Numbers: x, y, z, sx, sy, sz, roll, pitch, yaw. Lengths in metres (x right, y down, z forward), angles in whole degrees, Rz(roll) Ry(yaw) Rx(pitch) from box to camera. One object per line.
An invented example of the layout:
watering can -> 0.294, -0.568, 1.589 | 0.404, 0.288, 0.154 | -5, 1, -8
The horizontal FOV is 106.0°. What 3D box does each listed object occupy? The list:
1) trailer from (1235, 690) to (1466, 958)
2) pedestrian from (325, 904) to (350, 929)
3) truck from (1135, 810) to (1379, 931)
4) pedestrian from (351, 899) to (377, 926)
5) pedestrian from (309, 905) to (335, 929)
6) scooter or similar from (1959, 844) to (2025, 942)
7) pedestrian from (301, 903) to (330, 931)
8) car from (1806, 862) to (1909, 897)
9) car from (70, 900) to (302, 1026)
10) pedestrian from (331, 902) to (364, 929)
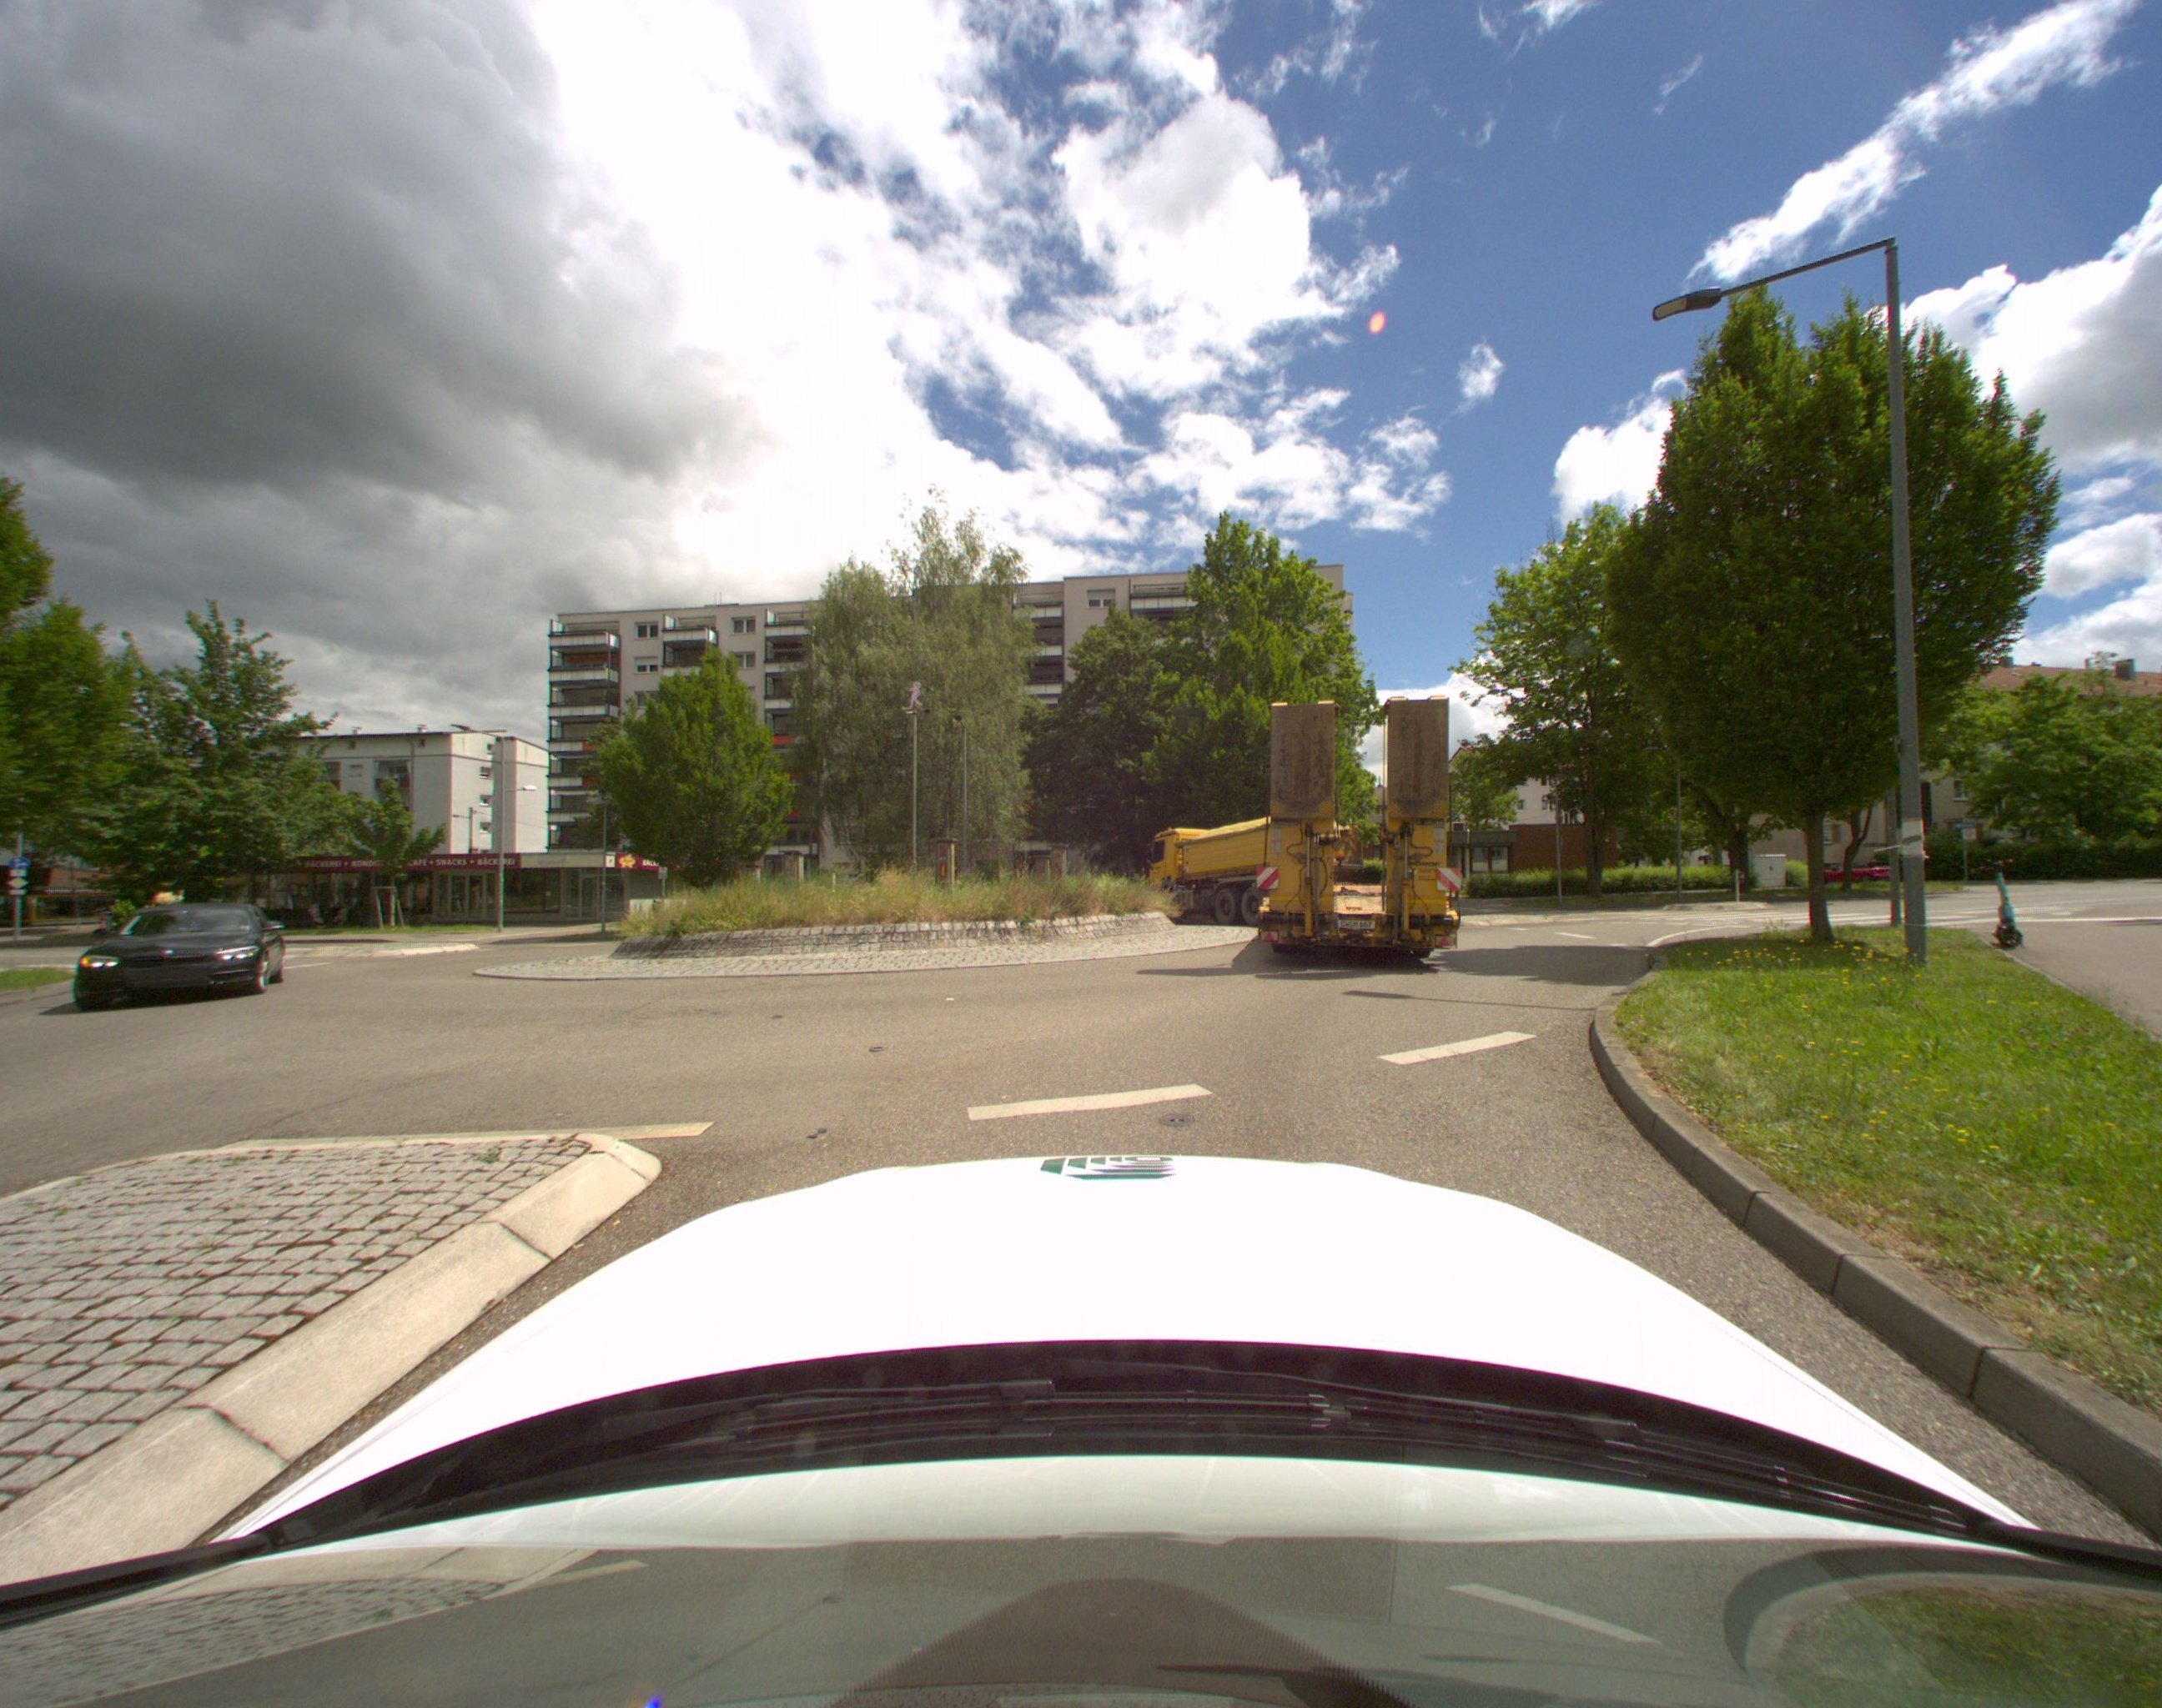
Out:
trailer -> 4.929, -0.221, 15.843 | 2.842, 3.373, 10.884 | 0, -2, 16
pedestrian -> -38.597, 3.246, 42.288 | 0.691, 1.201, 0.723 | -2, -2, 20
truck -> 4.894, 0.510, 24.941 | 3.000, 3.035, 8.421 | -1, -1, -22
pedestrian -> -37.263, 3.039, 42.318 | 0.692, 1.381, 0.722 | -2, -2, 13
pedestrian -> -38.895, 3.235, 41.740 | 0.691, 1.201, 0.723 | -2, -2, 20
scooter or similar -> 13.305, 0.542, 11.918 | 0.480, 1.343, 1.397 | -4, -1, 44
pedestrian -> -38.322, 3.156, 40.782 | 0.604, 1.325, 0.884 | -2, -2, 14
car -> 45.332, 1.479, 47.673 | 2.011, 1.942, 3.988 | 0, -1, -8
car -> -13.865, 1.551, 12.907 | 1.869, 1.455, 4.336 | 1, -1, -40
pedestrian -> -37.309, 3.120, 41.456 | 0.816, 1.325, 0.882 | 1, -1, 6
